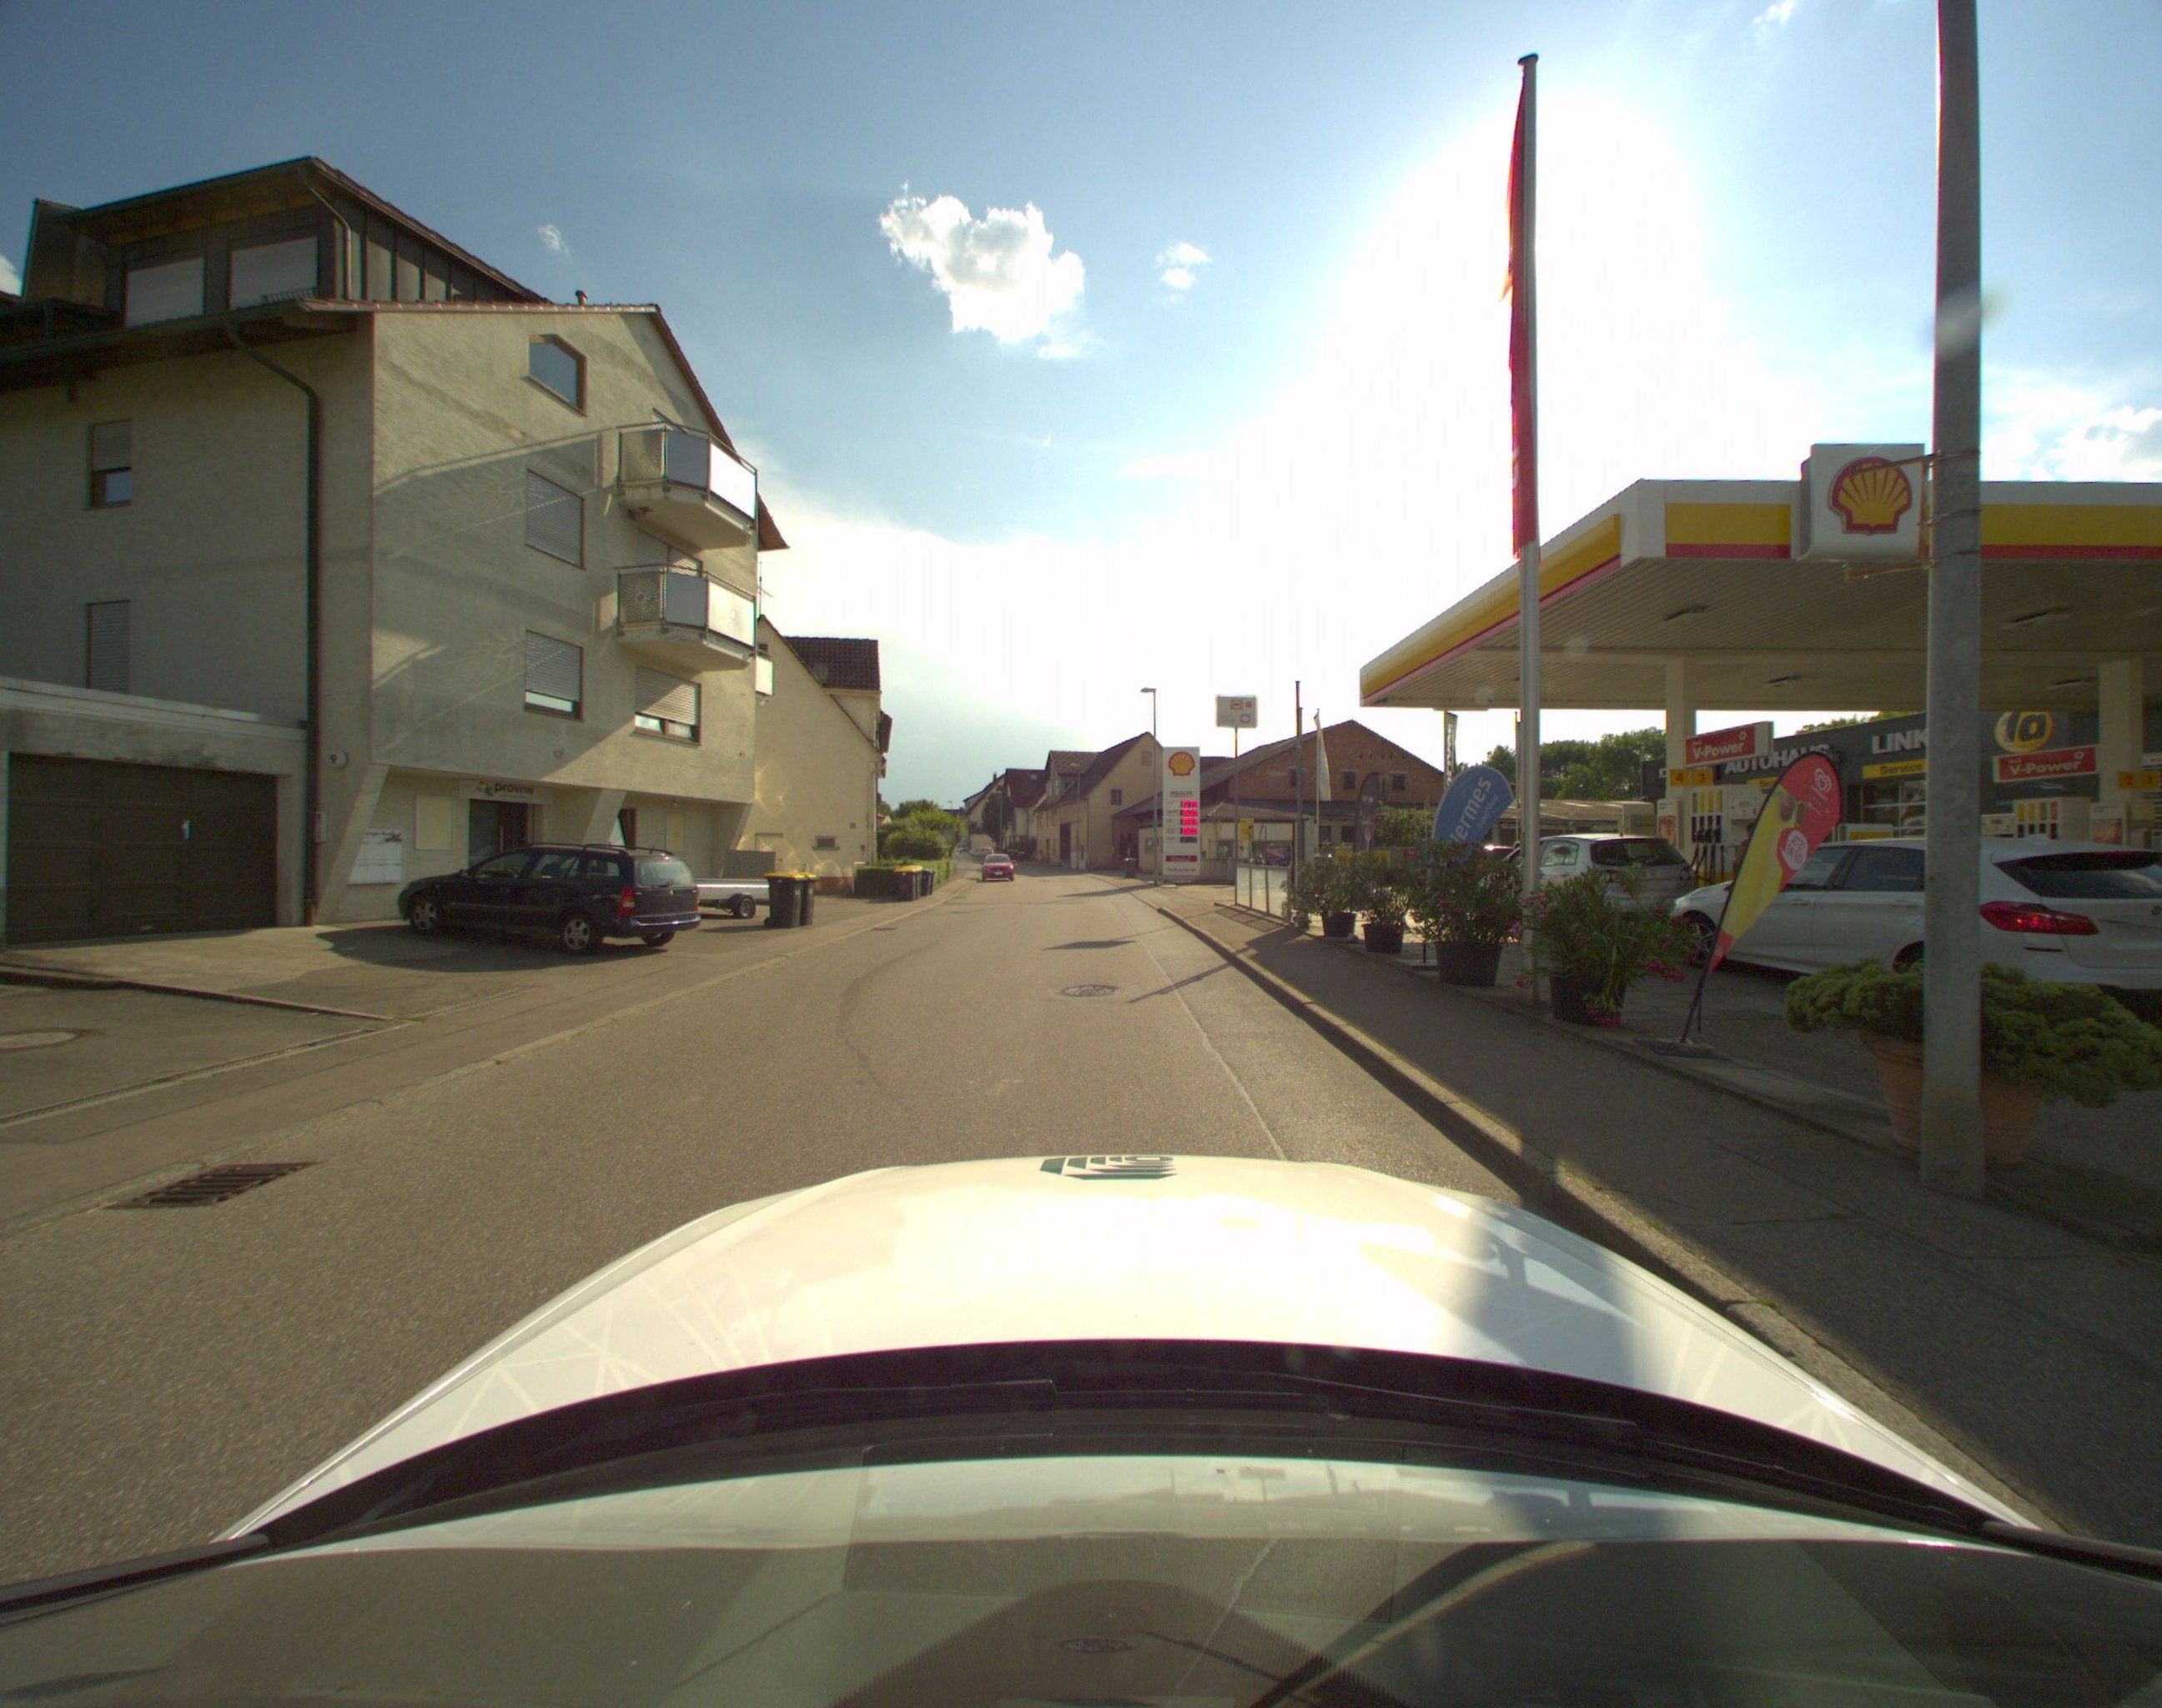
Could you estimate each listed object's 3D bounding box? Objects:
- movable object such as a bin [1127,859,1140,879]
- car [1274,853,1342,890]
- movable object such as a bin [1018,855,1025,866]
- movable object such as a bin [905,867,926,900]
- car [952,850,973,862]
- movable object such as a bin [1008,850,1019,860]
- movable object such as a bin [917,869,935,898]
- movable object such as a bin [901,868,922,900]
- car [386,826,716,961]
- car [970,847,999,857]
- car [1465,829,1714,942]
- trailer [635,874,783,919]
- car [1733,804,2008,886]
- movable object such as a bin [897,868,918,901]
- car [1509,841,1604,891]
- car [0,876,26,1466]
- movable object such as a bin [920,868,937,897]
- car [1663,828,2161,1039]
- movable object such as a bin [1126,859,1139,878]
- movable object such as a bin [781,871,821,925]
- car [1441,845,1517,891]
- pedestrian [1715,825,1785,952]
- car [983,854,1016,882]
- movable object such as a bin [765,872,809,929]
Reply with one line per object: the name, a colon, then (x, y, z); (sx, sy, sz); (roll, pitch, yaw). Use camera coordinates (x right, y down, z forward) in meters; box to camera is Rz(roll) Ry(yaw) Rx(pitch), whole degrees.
movable object such as a bin: (2.882, 0.819, 44.707); (0.651, 1.073, 0.512); (0, 0, -3)
car: (9.399, 0.692, 34.024); (1.573, 1.427, 4.379); (1, 0, -1)
movable object such as a bin: (-6.108, 0.681, 83.843); (0.654, 1.073, 0.510); (0, 0, -16)
movable object such as a bin: (-5.894, 1.047, 28.955); (0.586, 1.122, 0.617); (-2, 0, 0)
car: (-15.184, 0.267, 104.381); (1.713, 1.578, 3.969); (0, 0, -24)
movable object such as a bin: (-7.760, 0.097, 93.641); (1.161, 1.168, 0.652); (0, 0, -12)
movable object such as a bin: (-5.630, 1.052, 29.544); (0.530, 1.022, 0.457); (-2, 0, 0)
movable object such as a bin: (-5.895, 1.040, 28.337); (0.586, 1.084, 0.529); (-2, 0, 0)
car: (-7.862, 0.517, 12.220); (3.961, 1.538, 1.768); (4, 1, 12)
car: (-13.543, -0.258, 114.191); (3.985, 1.352, 1.706); (0, 0, -9)
car: (8.132, 0.439, 13.501); (1.666, 1.577, 3.999); (0, 0, 0)
trailer: (-8.112, 0.937, 18.012); (1.319, 0.855, 2.904); (2, -2, 18)
car: (15.156, -0.102, 15.981); (1.532, 1.400, 3.998); (0, -2, 0)
movable object such as a bin: (-5.895, 1.045, 27.709); (0.586, 1.084, 0.508); (-2, 0, 0)
car: (19.805, 0.434, 34.134); (1.571, 1.923, 4.557); (0, 1, 3)
car: (-3.568, 0.785, 0.156); (1.666, 1.451, 3.836); (-1, 0, 2)
movable object such as a bin: (-5.614, 1.041, 30.036); (0.530, 1.022, 0.457); (-2, 0, 0)
car: (8.026, 0.583, 8.096); (1.666, 1.577, 3.999); (0, 0, 0)
movable object such as a bin: (2.865, 0.797, 45.304); (0.651, 1.073, 0.512); (0, 0, -3)
movable object such as a bin: (-5.834, 0.904, 16.978); (0.568, 1.071, 0.557); (3, 0, 0)
car: (16.536, 0.538, 34.015); (1.571, 1.792, 3.635); (0, 1, 3)
pedestrian: (9.019, 0.459, 10.998); (0.499, 1.670, 0.534); (0, -1, 0)
car: (-4.538, 0.757, 45.000); (1.707, 1.435, 3.770); (-1, 0, -8)
movable object such as a bin: (-5.888, 0.921, 16.351); (0.597, 1.071, 0.619); (3, 0, 0)
